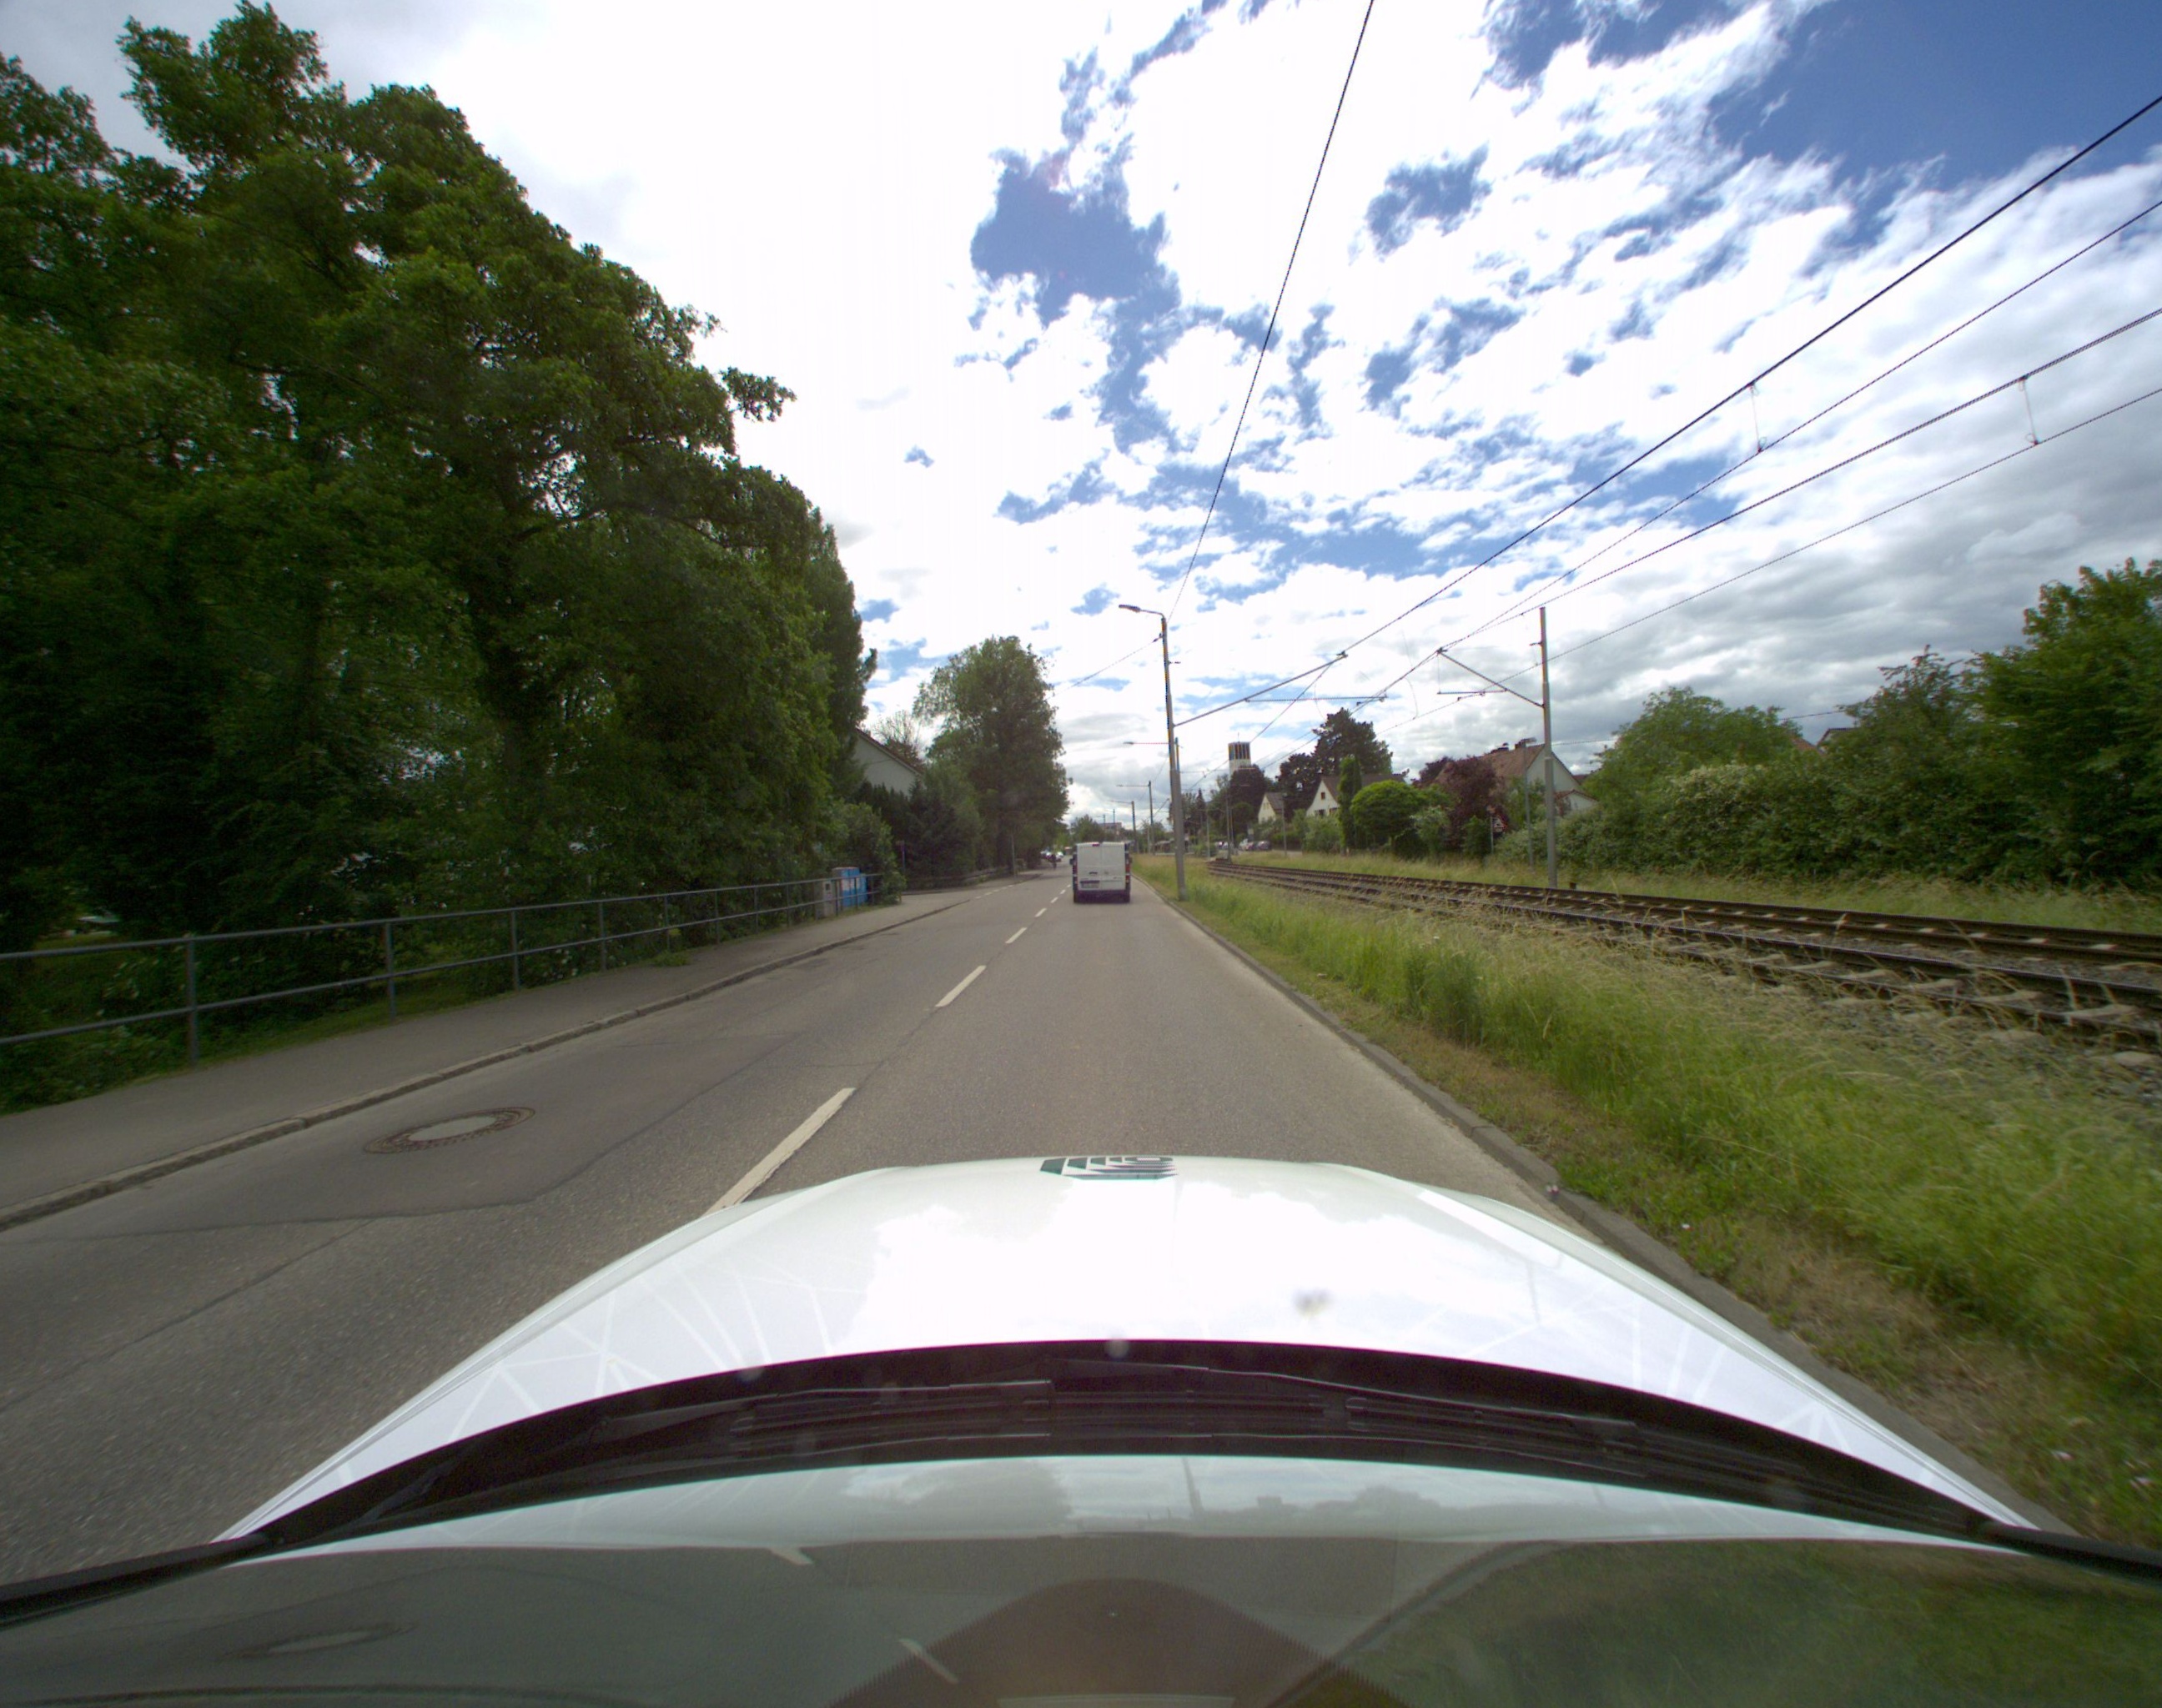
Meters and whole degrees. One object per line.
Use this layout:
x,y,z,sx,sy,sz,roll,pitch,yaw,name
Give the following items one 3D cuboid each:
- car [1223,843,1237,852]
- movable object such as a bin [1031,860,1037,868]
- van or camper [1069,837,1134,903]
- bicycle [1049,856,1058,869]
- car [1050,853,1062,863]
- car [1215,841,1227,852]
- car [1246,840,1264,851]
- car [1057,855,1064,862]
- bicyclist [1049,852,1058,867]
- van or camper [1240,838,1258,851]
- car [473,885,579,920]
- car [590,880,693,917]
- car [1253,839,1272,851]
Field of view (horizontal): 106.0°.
27.218,-1.250,148.927,1.876,1.522,4.002,-3,0,2,car
-5.324,1.154,92.318,0.512,0.945,0.568,-2,0,1,movable object such as a bin
0.713,0.505,27.651,1.986,2.013,4.447,-2,0,2,van or camper
-2.809,0.867,83.710,0.752,1.226,2.309,-5,0,1,bicycle
-4.313,0.624,139.185,1.734,1.504,4.470,-5,0,-5,car
27.054,-1.439,157.495,1.726,1.914,3.936,-1,-1,2,car
26.163,-1.316,122.506,1.876,1.522,4.002,-3,0,2,car
-5.019,1.142,200.337,1.689,1.430,3.783,-5,0,-2,car
-2.818,0.561,83.791,0.775,1.549,0.870,-3,0,1,bicyclist
26.274,-1.491,127.228,1.898,1.825,5.050,-3,0,2,van or camper
-27.539,2.418,40.510,3.966,1.479,1.960,-2,0,6,car
-21.500,2.169,39.946,3.972,1.517,1.842,-3,0,2,car
25.953,-1.290,116.453,1.876,1.522,4.002,-3,0,2,car
